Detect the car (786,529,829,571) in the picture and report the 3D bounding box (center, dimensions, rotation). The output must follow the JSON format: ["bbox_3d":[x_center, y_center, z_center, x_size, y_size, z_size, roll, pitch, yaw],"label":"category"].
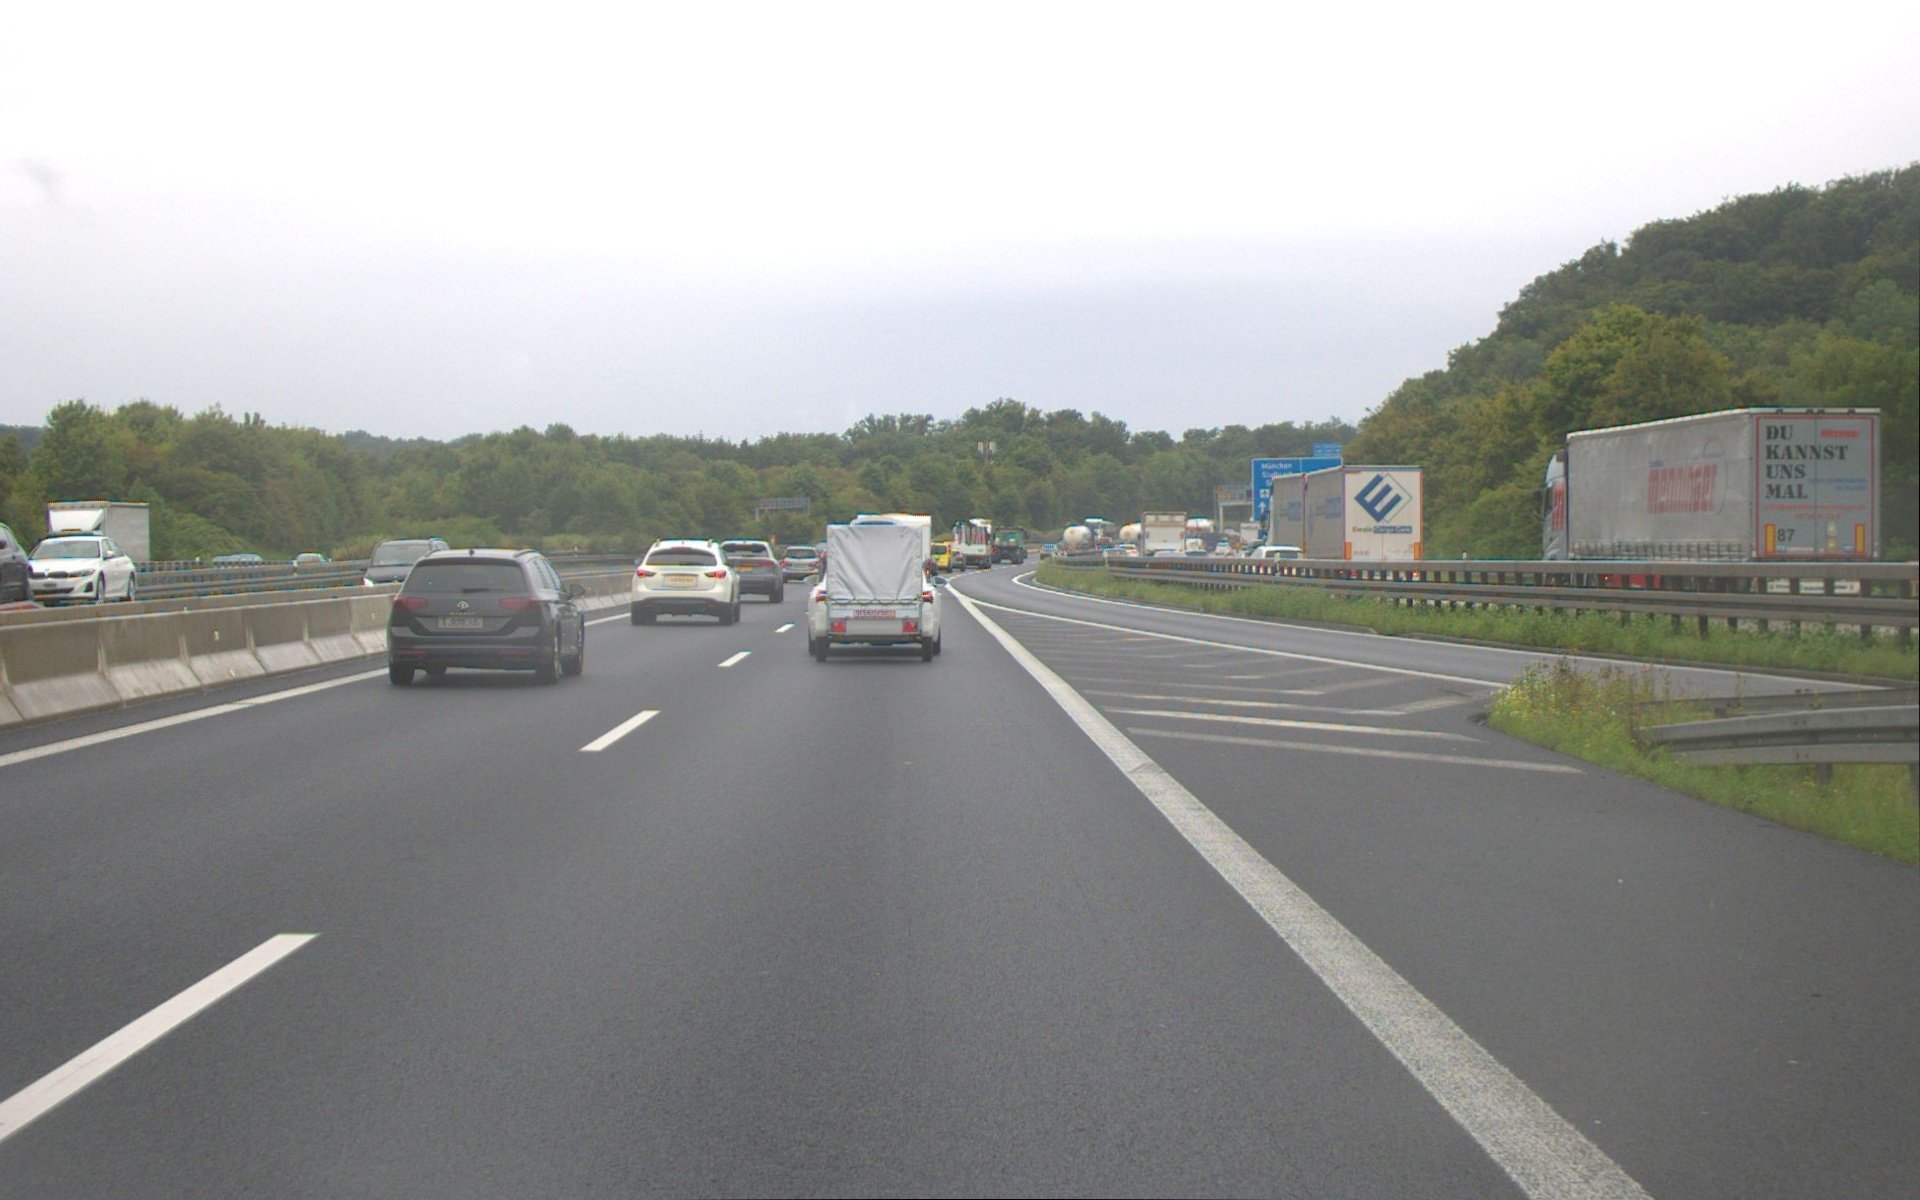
[{"bbox_3d":[-6.616,-2.172,149.576,1.738,1.787,4.000,1,1,-1],"label":"car"}]

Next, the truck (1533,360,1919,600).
[{"bbox_3d":[16.230,-2.381,73.569,3.820,4.525,16.888,0,1,-5],"label":"truck"}]

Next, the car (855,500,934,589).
[{"bbox_3d":[-2.103,-1.744,108.184,2.331,2.716,6.541,0,1,-2],"label":"car"}]

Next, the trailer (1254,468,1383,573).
[{"bbox_3d":[12.605,-2.769,121.569,2.937,3.515,8.421,1,1,-5],"label":"trailer"}]

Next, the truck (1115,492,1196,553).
[{"bbox_3d":[12.004,-4.755,212.200,3.824,3.646,8.273,1,1,-4],"label":"truck"}]

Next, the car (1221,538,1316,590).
[{"bbox_3d":[9.780,-1.154,109.479,1.993,1.611,5.080,0,1,-7],"label":"car"}]

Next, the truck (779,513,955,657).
[{"bbox_3d":[-1.220,-0.223,47.321,2.242,1.833,6.585,0,0,-1],"label":"truck"}]

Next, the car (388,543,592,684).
[{"bbox_3d":[-5.163,0.100,38.291,1.787,1.454,4.803,1,1,-2],"label":"car"}]

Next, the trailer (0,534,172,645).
[{"bbox_3d":[-17.947,-0.275,67.959,2.536,2.007,10.246,-1,1,-1],"label":"trailer"}]

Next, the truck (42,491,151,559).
[{"bbox_3d":[-37.590,-3.253,149.925,2.739,2.863,8.542,-1,1,-1],"label":"truck"}]

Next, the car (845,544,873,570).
[{"bbox_3d":[-6.408,-2.736,217.731,1.645,1.568,4.000,1,1,0],"label":"car"}]

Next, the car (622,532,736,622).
[{"bbox_3d":[-5.518,-0.474,67.062,2.048,1.665,4.542,0,1,-7],"label":"car"}]

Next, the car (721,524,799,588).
[{"bbox_3d":[-5.531,-1.233,95.672,1.975,1.697,4.803,1,1,-1],"label":"car"}]

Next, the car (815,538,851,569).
[{"bbox_3d":[-6.769,-2.484,183.359,1.819,1.656,4.017,0,1,0],"label":"car"}]

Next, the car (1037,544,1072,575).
[{"bbox_3d":[5.000,-2.161,182.413,1.645,1.568,4.000,1,1,0],"label":"car"}]

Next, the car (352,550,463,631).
[{"bbox_3d":[-14.320,-0.276,89.343,1.993,2.007,5.099,0,1,1],"label":"car"}]

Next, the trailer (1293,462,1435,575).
[{"bbox_3d":[13.239,-2.645,113.288,3.077,3.515,8.086,1,1,-4],"label":"trailer"}]

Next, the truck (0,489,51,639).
[{"bbox_3d":[-17.778,-0.622,59.201,2.426,2.585,7.094,0,1,-1],"label":"truck"}]
